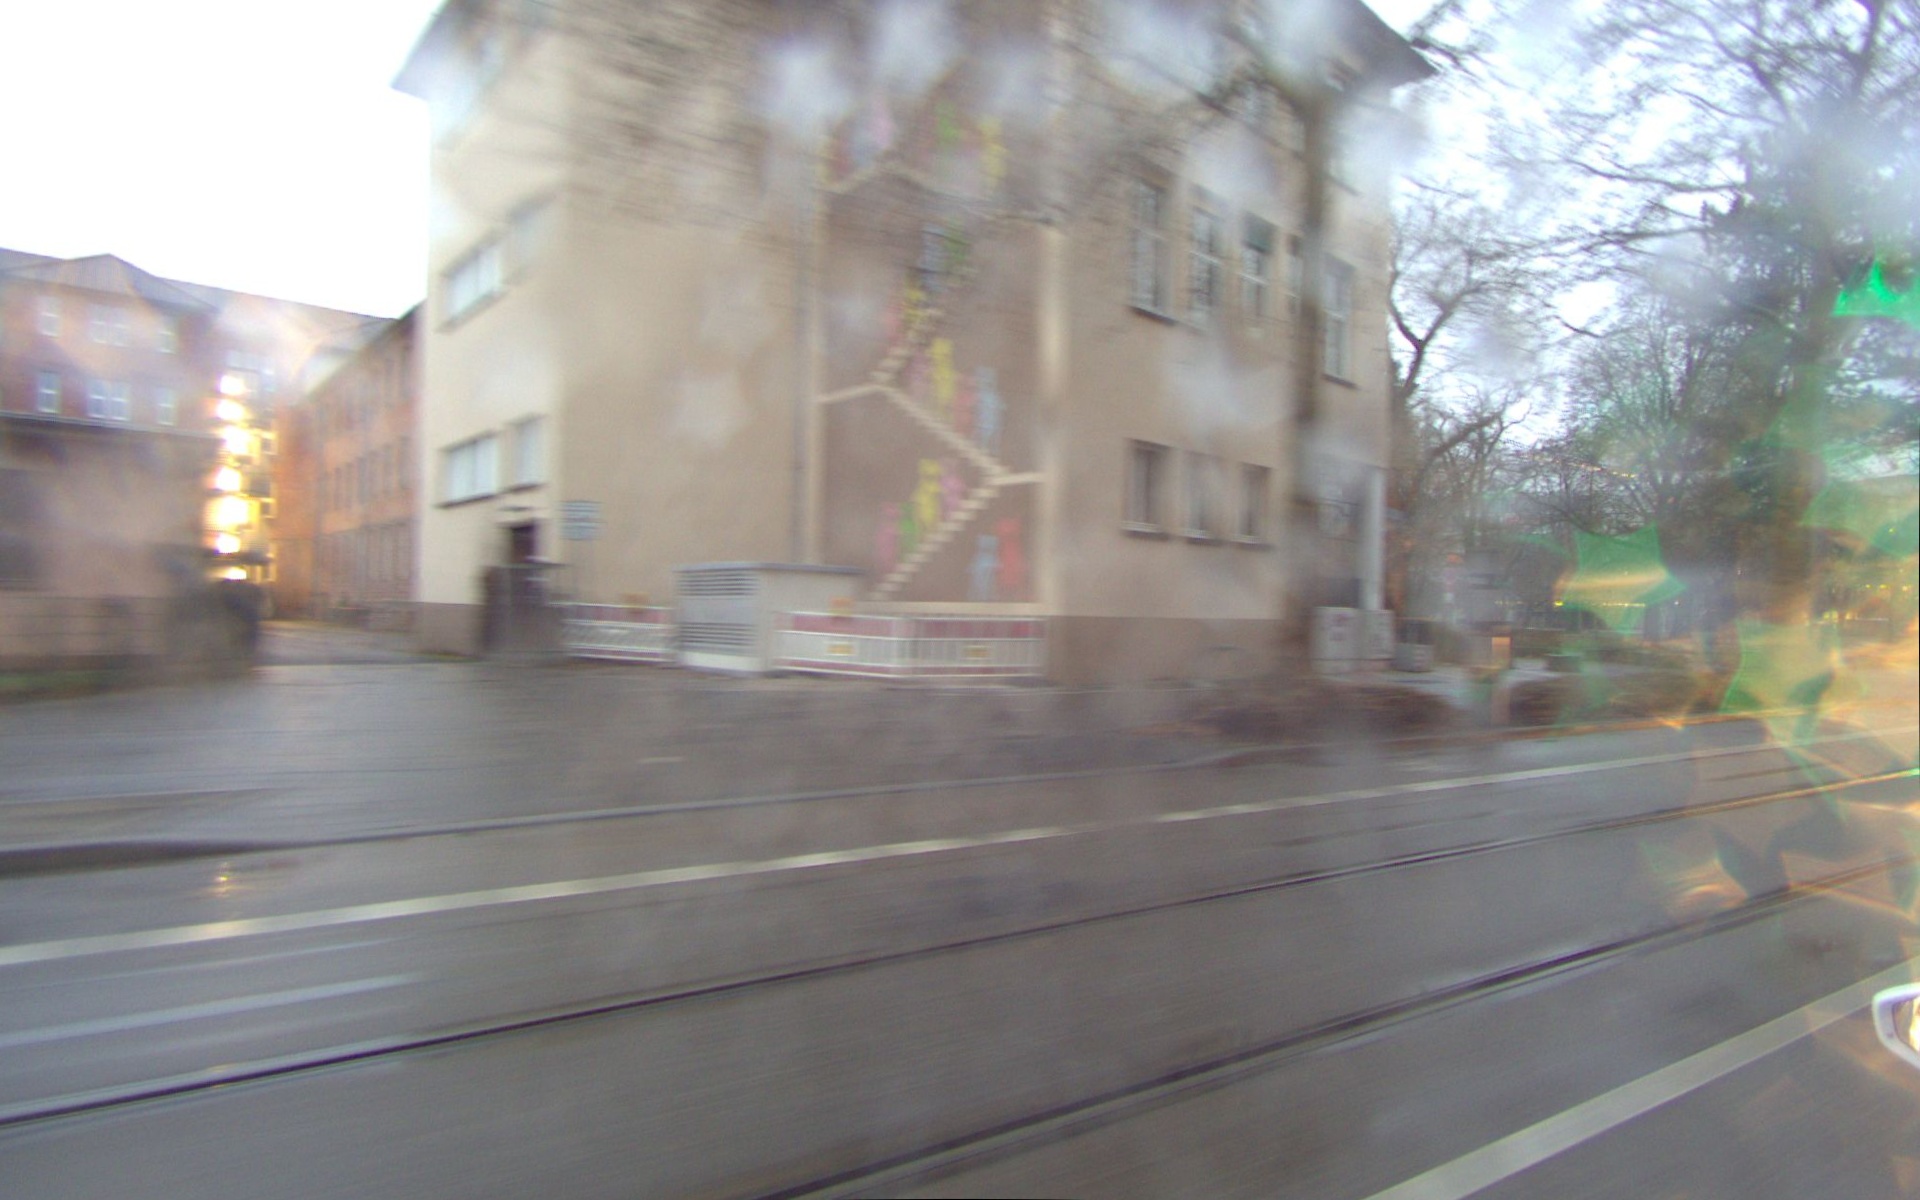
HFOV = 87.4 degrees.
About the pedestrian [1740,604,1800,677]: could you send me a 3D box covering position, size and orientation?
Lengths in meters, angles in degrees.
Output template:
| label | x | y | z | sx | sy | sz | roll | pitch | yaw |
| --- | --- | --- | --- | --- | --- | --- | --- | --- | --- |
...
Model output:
| label | x | y | z | sx | sy | sz | roll | pitch | yaw |
| --- | --- | --- | --- | --- | --- | --- | --- | --- | --- |
| pedestrian | 20.924 | 1.046 | 25.945 | 0.996 | 1.839 | 0.817 | 2 | 0 | -27 |
